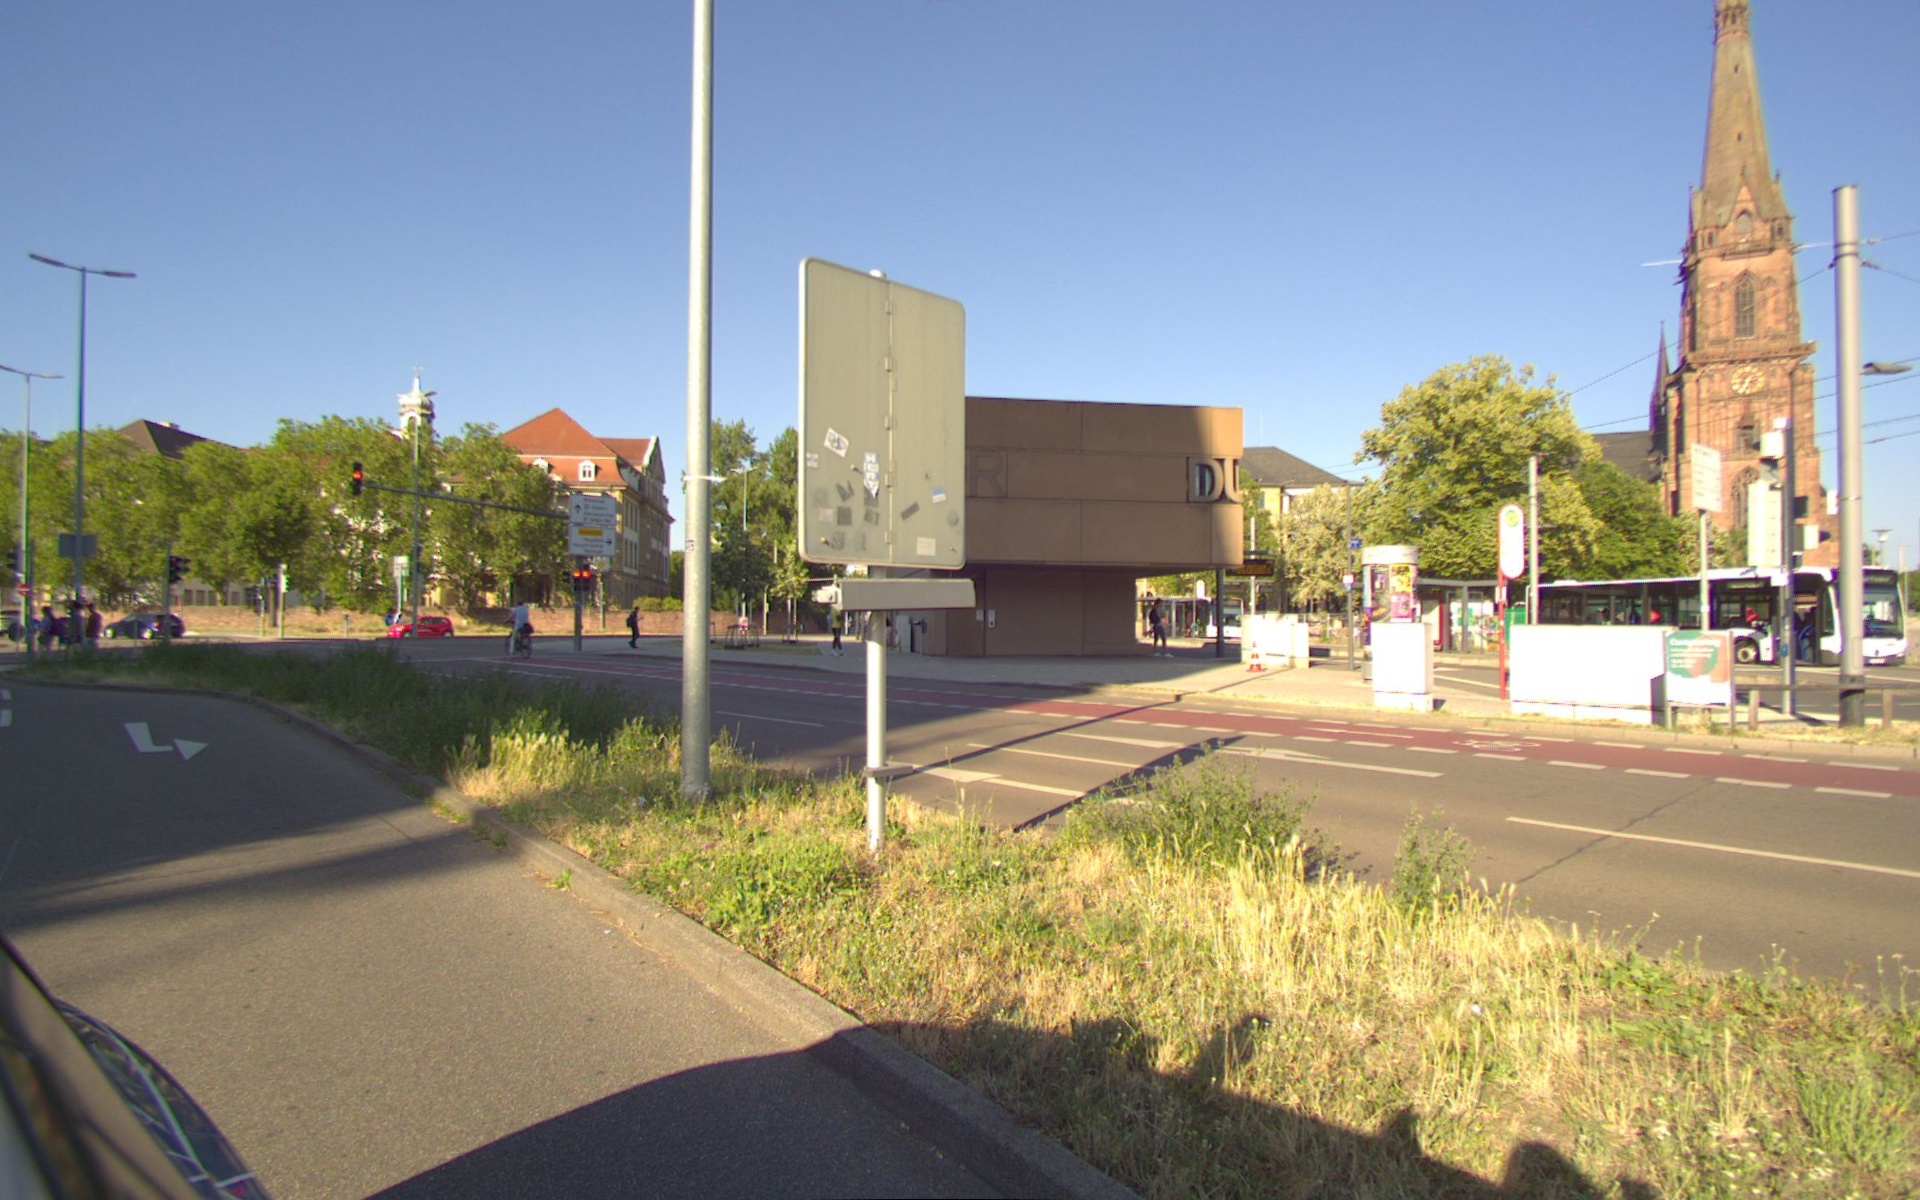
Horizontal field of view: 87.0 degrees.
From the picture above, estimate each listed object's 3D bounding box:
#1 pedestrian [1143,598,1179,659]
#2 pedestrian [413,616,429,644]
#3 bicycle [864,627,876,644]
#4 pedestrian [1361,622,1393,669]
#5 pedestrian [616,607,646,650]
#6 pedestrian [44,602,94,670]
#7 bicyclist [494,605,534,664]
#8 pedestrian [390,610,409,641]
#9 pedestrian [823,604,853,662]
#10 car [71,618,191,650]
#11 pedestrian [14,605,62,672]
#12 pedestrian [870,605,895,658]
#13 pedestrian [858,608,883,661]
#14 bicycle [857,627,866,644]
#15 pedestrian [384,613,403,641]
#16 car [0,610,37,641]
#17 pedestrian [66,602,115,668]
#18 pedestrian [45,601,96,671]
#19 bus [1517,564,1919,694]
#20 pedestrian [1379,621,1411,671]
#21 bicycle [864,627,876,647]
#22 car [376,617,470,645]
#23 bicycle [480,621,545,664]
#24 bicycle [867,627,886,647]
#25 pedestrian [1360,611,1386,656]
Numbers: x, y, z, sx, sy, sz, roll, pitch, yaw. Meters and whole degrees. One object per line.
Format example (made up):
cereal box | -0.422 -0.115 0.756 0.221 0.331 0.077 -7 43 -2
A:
pedestrian | 6.683 0.953 33.686 0.965 1.997 0.720 1 -2 -9
pedestrian | -34.437 1.914 64.659 0.779 1.665 0.715 2 1 -19
bicycle | -5.961 2.322 66.899 0.558 1.062 1.978 -1 -1 -12
pedestrian | 17.791 1.935 43.180 0.981 1.997 0.830 1 -2 -7
pedestrian | -13.255 1.135 40.798 0.748 1.697 0.886 -2 -2 45
pedestrian | -23.405 0.941 26.574 0.757 1.754 0.914 -1 -2 45
bicyclist | -14.132 1.070 32.068 1.012 1.846 0.733 0 -1 37
pedestrian | -34.975 1.596 63.170 0.859 1.908 0.714 2 1 -42
pedestrian | -3.944 1.060 32.820 0.706 1.849 0.641 0 -3 -35
car | -44.583 1.835 54.550 4.527 1.598 2.202 -1 -2 -19
pedestrian | -24.962 1.033 27.397 0.757 1.754 0.914 -1 -2 45
pedestrian | -2.598 1.044 33.796 0.724 1.744 0.666 -1 -2 -10
pedestrian | -2.918 1.116 32.819 0.628 1.702 0.552 -1 -2 -22
bicycle | -6.672 2.389 68.516 0.558 1.062 1.975 -1 -1 -4
pedestrian | -34.890 1.652 62.297 0.859 1.686 0.714 2 1 -42
car | -57.451 1.541 60.326 4.584 1.697 2.175 -3 -2 27
pedestrian | -23.647 0.955 27.527 0.788 1.754 0.914 -1 -2 45
pedestrian | -22.859 0.912 26.020 0.757 1.754 0.914 -1 -2 45
bus | 24.018 0.697 33.026 3.198 3.342 12.212 3 0 -9
pedestrian | 17.805 1.873 41.413 0.965 1.997 0.720 1 -2 -7
bicycle | -5.447 2.232 61.438 0.558 1.114 1.977 -1 -1 -9
car | -32.283 1.844 60.948 2.190 1.598 4.552 -3 -2 35
bicycle | -14.212 1.330 32.111 2.552 1.265 0.733 0 -1 37
bicycle | -4.745 2.106 57.363 0.732 1.114 2.130 -1 -2 -13
pedestrian | 18.669 1.527 45.806 0.803 1.997 0.756 1 -2 -7
